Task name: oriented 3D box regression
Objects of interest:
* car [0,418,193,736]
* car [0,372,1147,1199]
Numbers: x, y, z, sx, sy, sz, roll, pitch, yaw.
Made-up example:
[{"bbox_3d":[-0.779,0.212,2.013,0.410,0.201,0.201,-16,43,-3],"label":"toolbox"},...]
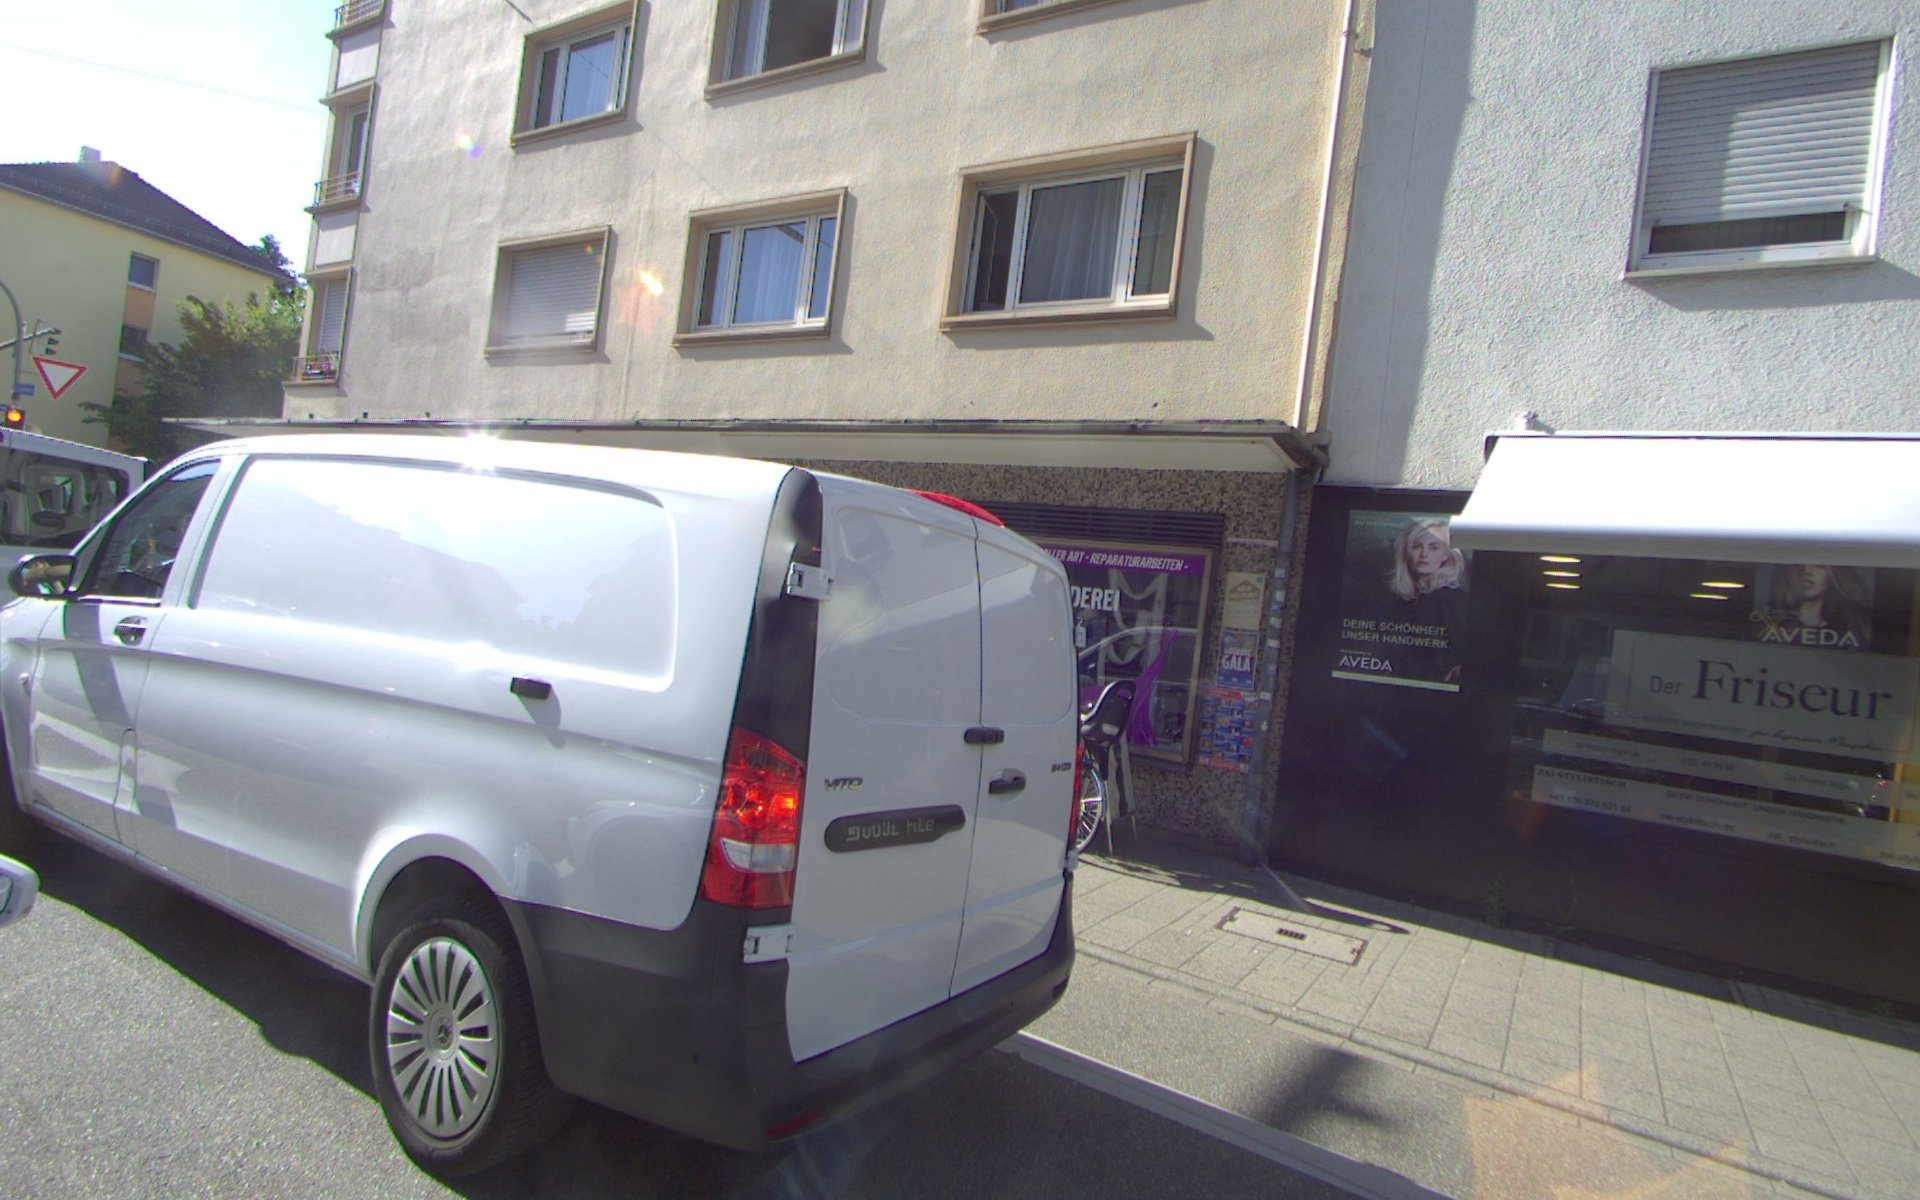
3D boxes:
[{"bbox_3d":[-8.137,-0.385,7.694,4.817,2.001,1.997,7,-3,34],"label":"car"},{"bbox_3d":[-2.013,0.343,3.986,4.913,1.891,1.839,7,-1,32],"label":"car"}]
